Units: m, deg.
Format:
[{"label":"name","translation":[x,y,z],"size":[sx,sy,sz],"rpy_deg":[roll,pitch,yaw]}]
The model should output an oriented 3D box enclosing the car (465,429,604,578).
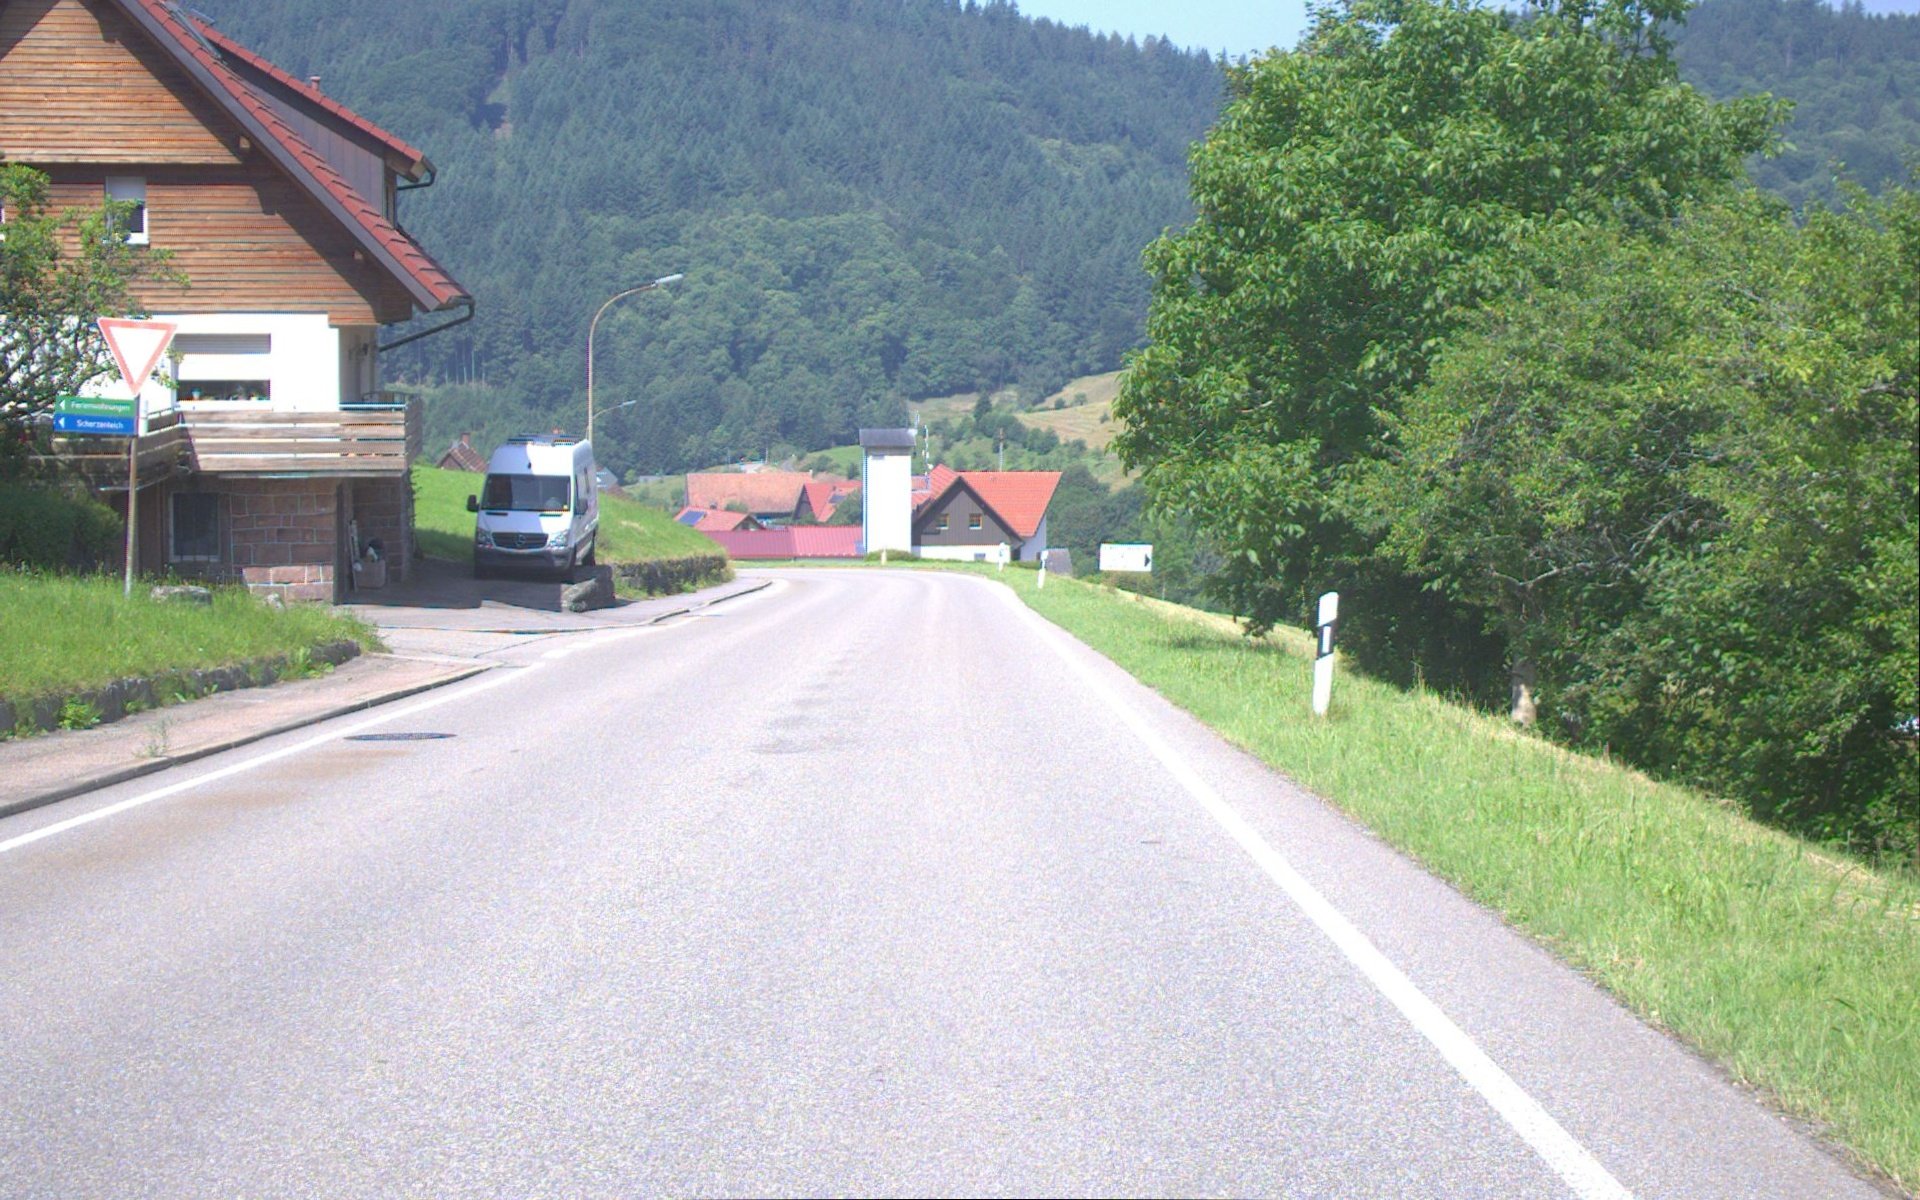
[{"label":"car","translation":[-8.558,-2.026,69.789],"size":[2.067,2.679,7.176],"rpy_deg":[0,4,-1]}]
